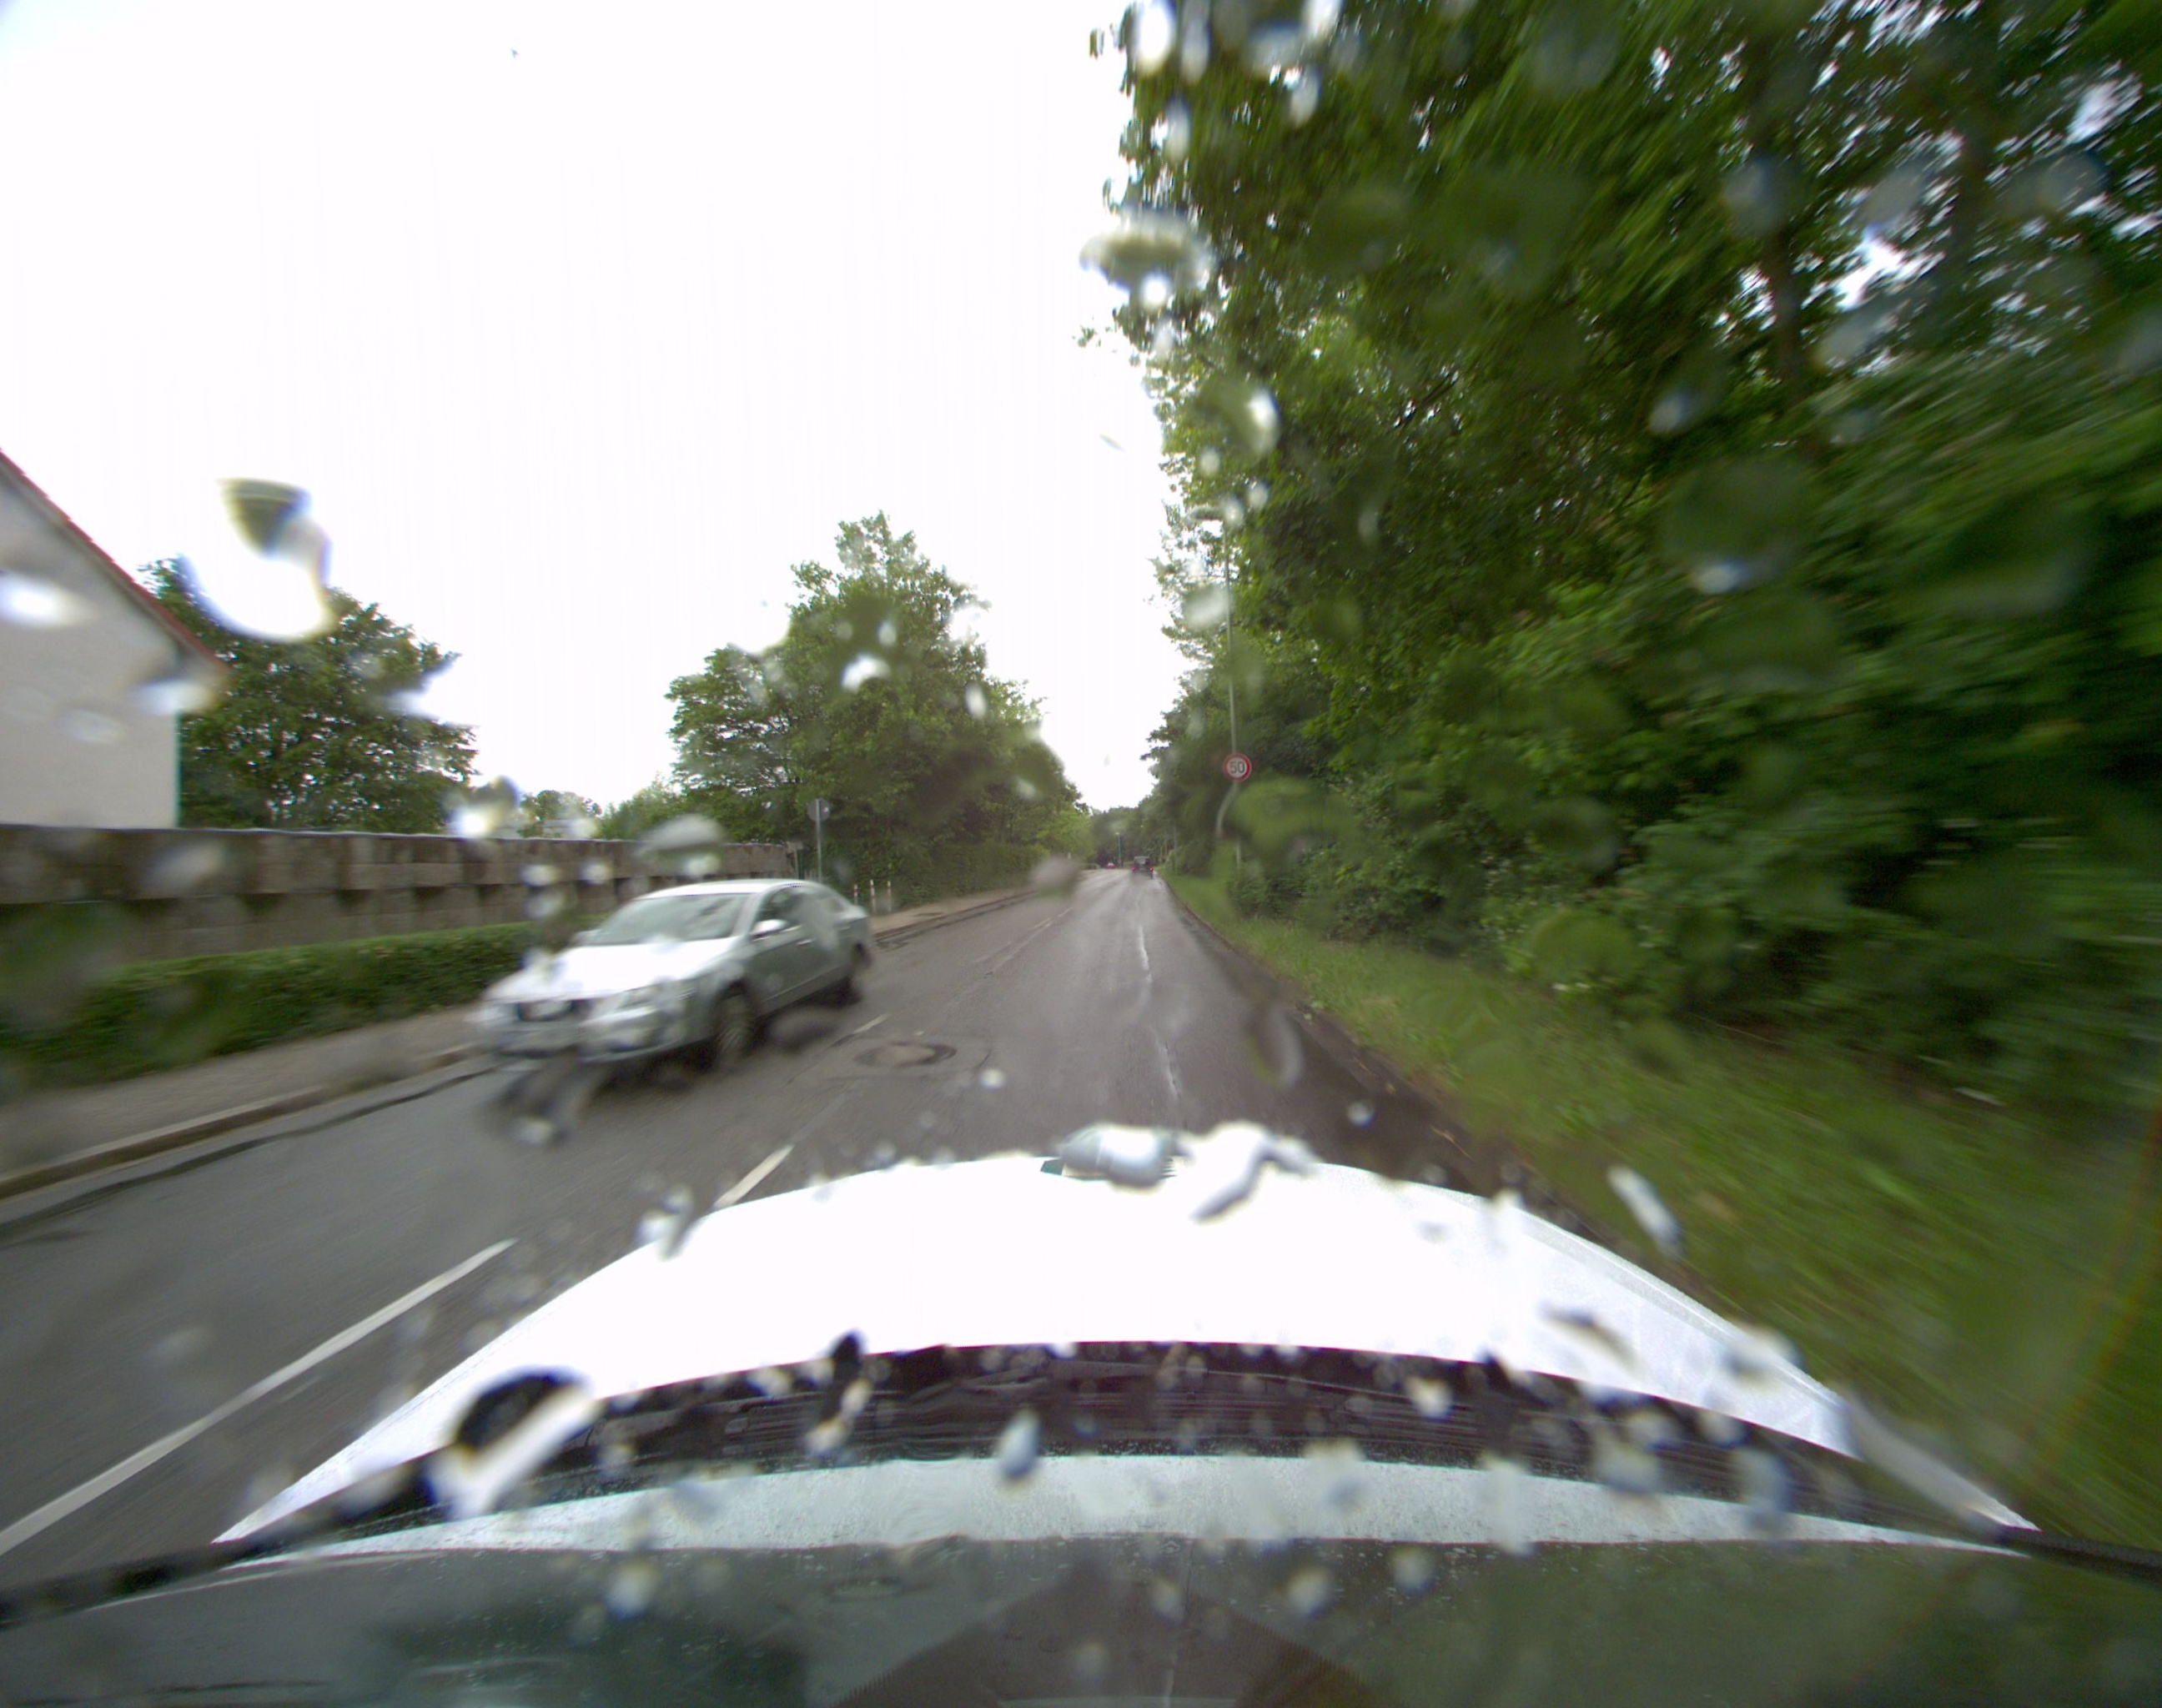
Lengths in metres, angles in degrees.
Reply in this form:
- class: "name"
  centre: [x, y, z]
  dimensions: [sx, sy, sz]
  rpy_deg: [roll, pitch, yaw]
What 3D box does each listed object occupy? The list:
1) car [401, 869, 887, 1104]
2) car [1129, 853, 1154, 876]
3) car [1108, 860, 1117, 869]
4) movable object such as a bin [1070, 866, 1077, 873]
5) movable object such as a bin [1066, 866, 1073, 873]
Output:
- class: "car"
  centre: [-3.569, 0.960, 7.867]
  dimensions: [1.985, 1.420, 4.489]
  rpy_deg: [-4, 0, 3]
- class: "car"
  centre: [5.000, 0.818, 67.950]
  dimensions: [1.985, 1.793, 4.004]
  rpy_deg: [1, 1, 3]
- class: "car"
  centre: [7.284, 2.387, 189.478]
  dimensions: [1.985, 2.014, 4.003]
  rpy_deg: [1, 0, 3]
- class: "movable object such as a bin"
  centre: [-1.179, 2.351, 124.117]
  dimensions: [0.670, 1.026, 0.827]
  rpy_deg: [-3, -1, -27]
- class: "movable object such as a bin"
  centre: [-1.788, 2.405, 123.747]
  dimensions: [0.670, 1.026, 0.827]
  rpy_deg: [-3, -1, -27]
